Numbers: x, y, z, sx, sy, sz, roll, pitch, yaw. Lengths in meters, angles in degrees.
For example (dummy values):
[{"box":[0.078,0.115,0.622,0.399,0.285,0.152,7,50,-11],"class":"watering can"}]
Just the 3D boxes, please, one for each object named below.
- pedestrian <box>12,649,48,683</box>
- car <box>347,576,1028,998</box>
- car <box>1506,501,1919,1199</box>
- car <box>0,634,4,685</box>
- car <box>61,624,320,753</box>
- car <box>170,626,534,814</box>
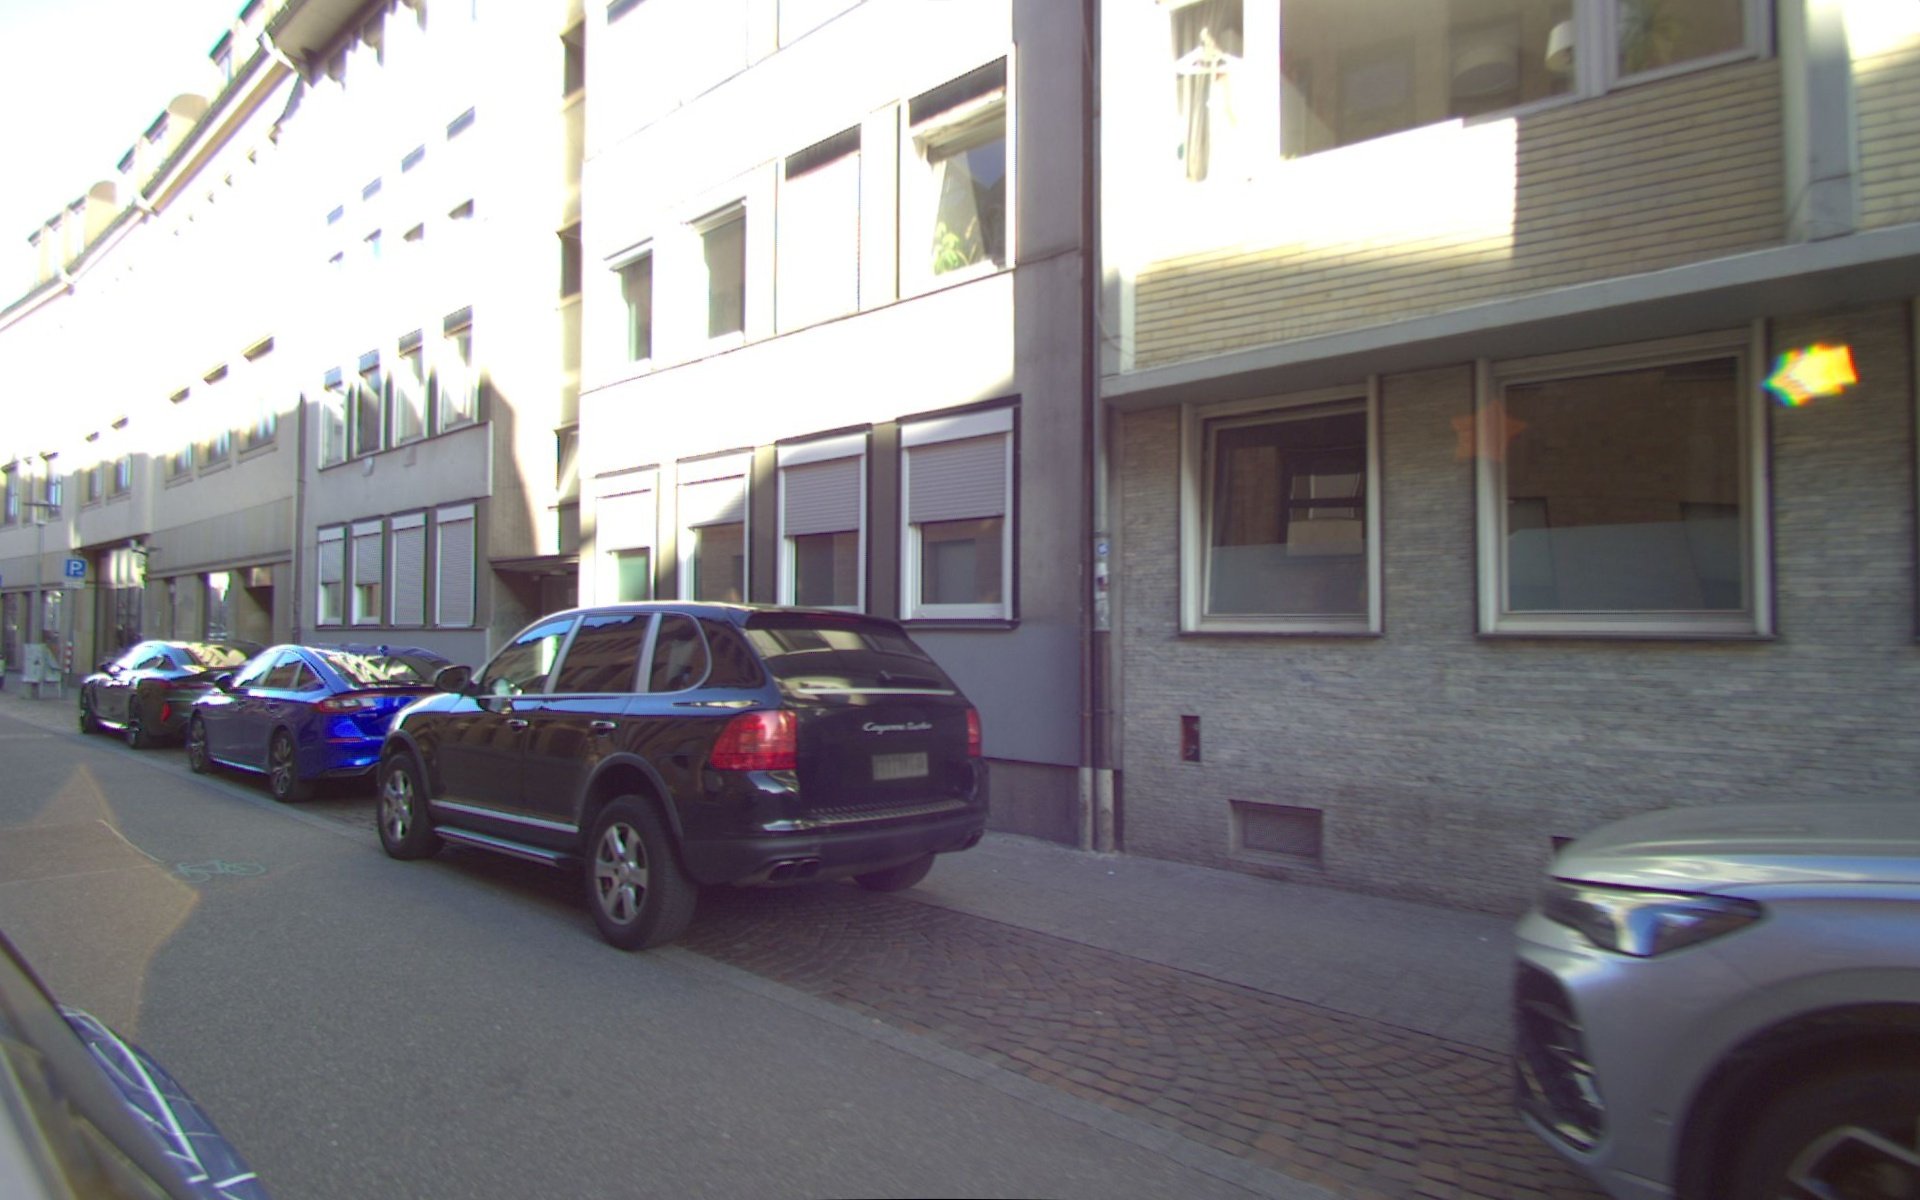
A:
[{"box":[-28.683,2.031,31.208,0.615,1.043,0.650,-1,-2,32],"class":"pedestrian"},{"box":[-1.948,0.835,6.293,4.551,1.688,1.870,-2,-3,41],"class":"car"},{"box":[3.521,0.685,1.570,4.389,1.755,1.870,-2,-3,42],"class":"car"},{"box":[-27.697,1.675,27.579,3.768,1.534,1.655,-2,-5,36],"class":"car"},{"box":[-11.032,1.148,14.386,4.725,1.542,1.871,-1,-4,40],"class":"car"},{"box":[-6.378,1.067,10.436,4.336,1.542,1.871,-2,-3,40],"class":"car"}]
